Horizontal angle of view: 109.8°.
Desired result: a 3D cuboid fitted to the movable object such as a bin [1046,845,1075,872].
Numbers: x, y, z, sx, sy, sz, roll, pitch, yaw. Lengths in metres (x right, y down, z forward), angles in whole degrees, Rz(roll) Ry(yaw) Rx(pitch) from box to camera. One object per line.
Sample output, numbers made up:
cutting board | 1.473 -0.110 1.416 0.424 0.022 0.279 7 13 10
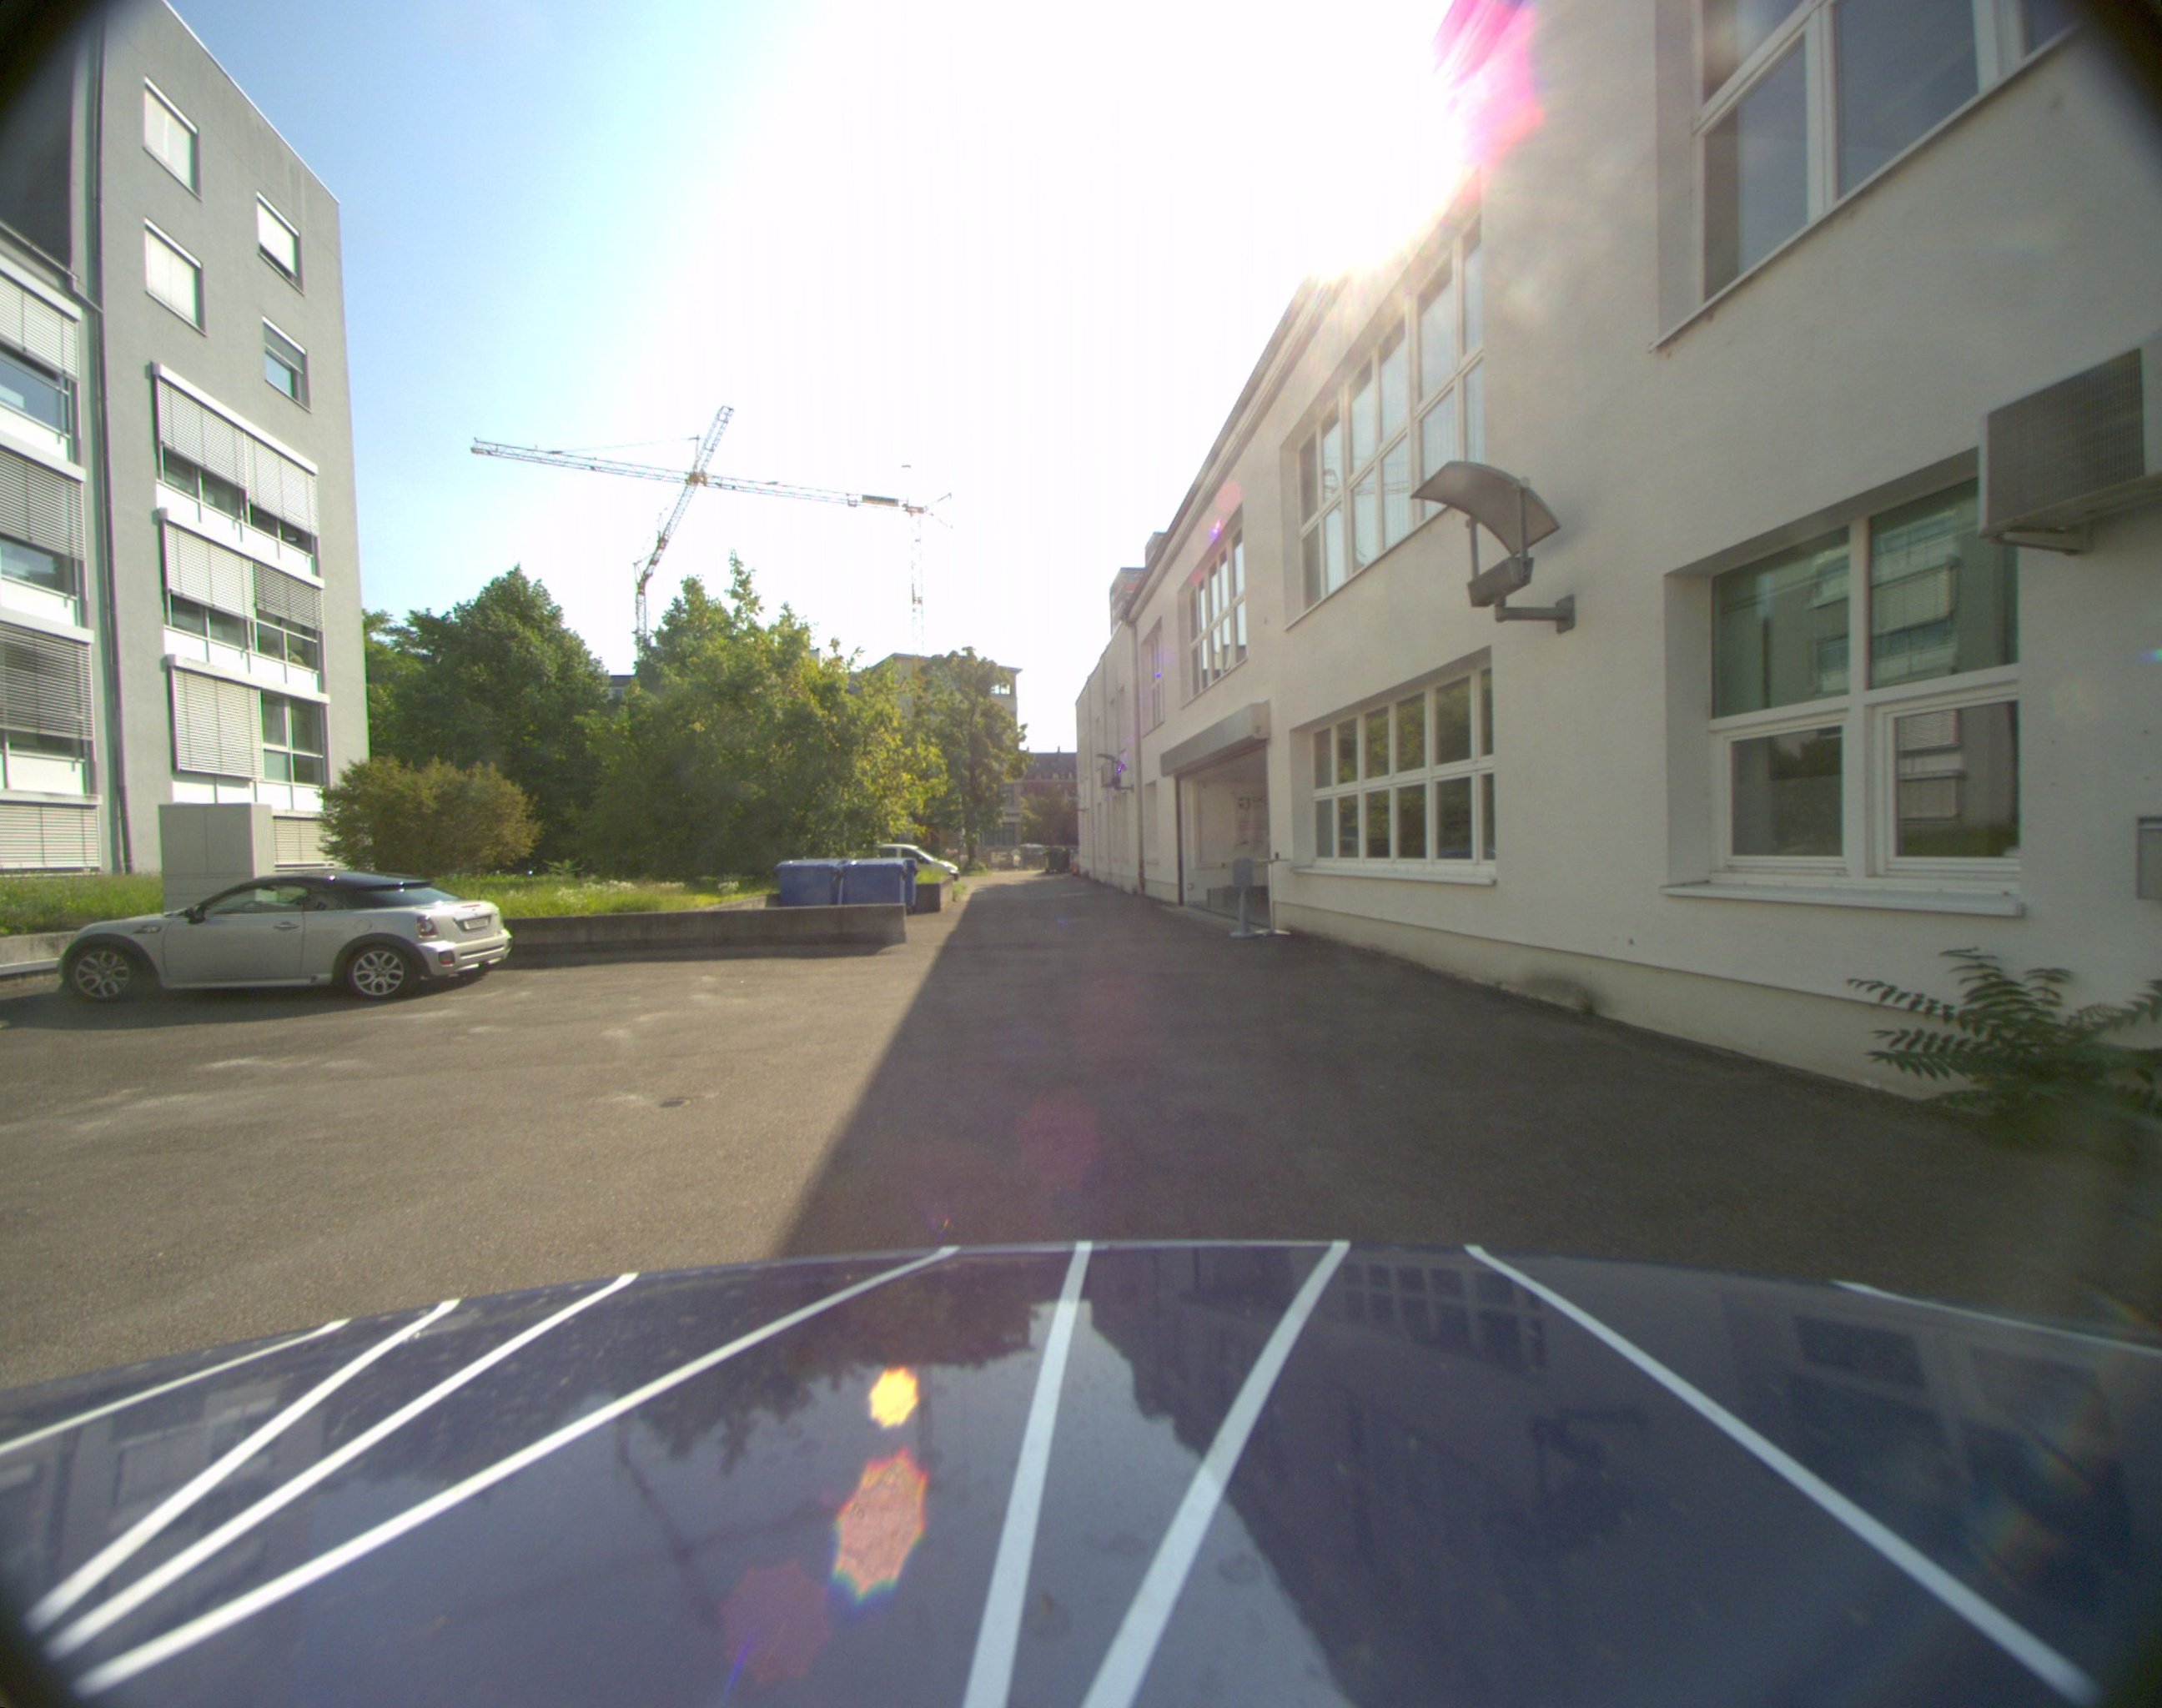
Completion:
movable object such as a bin | -1.187 0.271 43.046 1.525 1.457 1.274 -2 1 -6

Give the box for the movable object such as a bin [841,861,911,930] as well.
movable object such as a bin | -4.319 0.854 16.131 1.214 1.343 1.274 -2 1 -8

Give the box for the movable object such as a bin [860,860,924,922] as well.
movable object such as a bin | -4.371 0.831 17.682 1.200 1.320 1.274 -2 1 -5

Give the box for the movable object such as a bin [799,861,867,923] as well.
movable object such as a bin | -5.705 0.859 17.590 1.200 1.320 1.274 -2 1 -5

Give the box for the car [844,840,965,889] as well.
car | -7.544 0.433 32.859 4.792 1.920 1.908 -1 1 -4

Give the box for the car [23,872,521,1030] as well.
car | -8.868 0.992 8.670 3.582 1.429 1.657 -1 1 -9

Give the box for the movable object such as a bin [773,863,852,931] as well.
movable object such as a bin | -5.621 0.874 16.014 1.257 1.320 1.274 -2 1 -5
